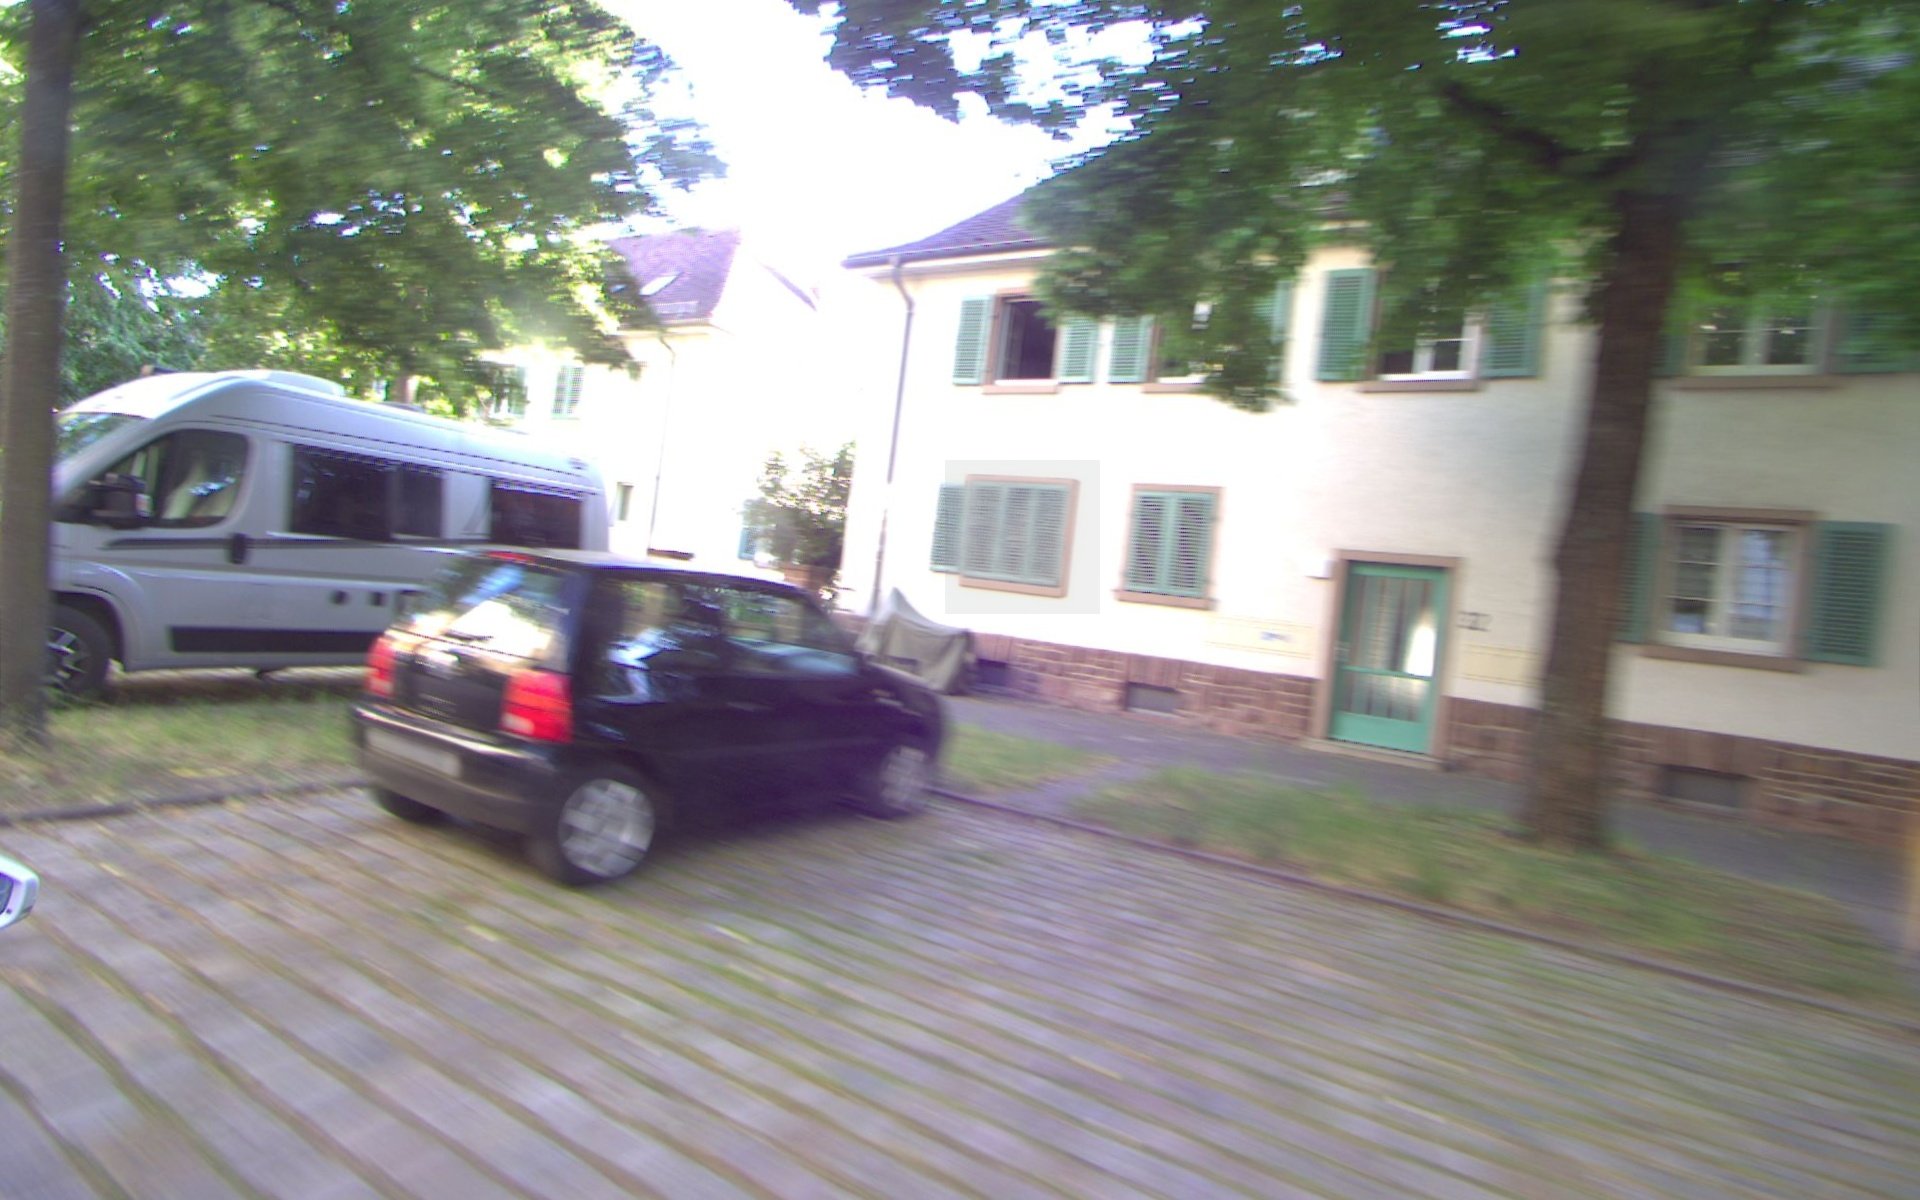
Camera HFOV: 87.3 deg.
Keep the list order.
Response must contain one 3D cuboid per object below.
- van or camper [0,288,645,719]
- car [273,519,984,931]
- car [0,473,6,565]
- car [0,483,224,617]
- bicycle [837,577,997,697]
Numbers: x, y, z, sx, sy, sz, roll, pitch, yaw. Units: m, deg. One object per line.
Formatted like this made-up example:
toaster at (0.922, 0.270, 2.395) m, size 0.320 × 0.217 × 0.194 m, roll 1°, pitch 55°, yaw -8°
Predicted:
van or camper at (-5.655, -0.581, 8.474) m, size 2.230 × 2.570 × 5.578 m, roll 6°, pitch 1°, yaw 29°
car at (-1.518, 0.528, 5.741) m, size 1.722 × 1.491 × 3.504 m, roll 6°, pitch 0°, yaw 30°
car at (-17.127, -1.394, 14.704) m, size 1.723 × 1.626 × 4.249 m, roll 6°, pitch 0°, yaw 28°
car at (-12.145, -0.726, 12.439) m, size 1.786 × 1.471 × 4.506 m, roll 6°, pitch -1°, yaw 32°
bicycle at (-0.600, 0.512, 14.228) m, size 1.967 × 1.417 × 0.802 m, roll 7°, pitch 0°, yaw 18°
